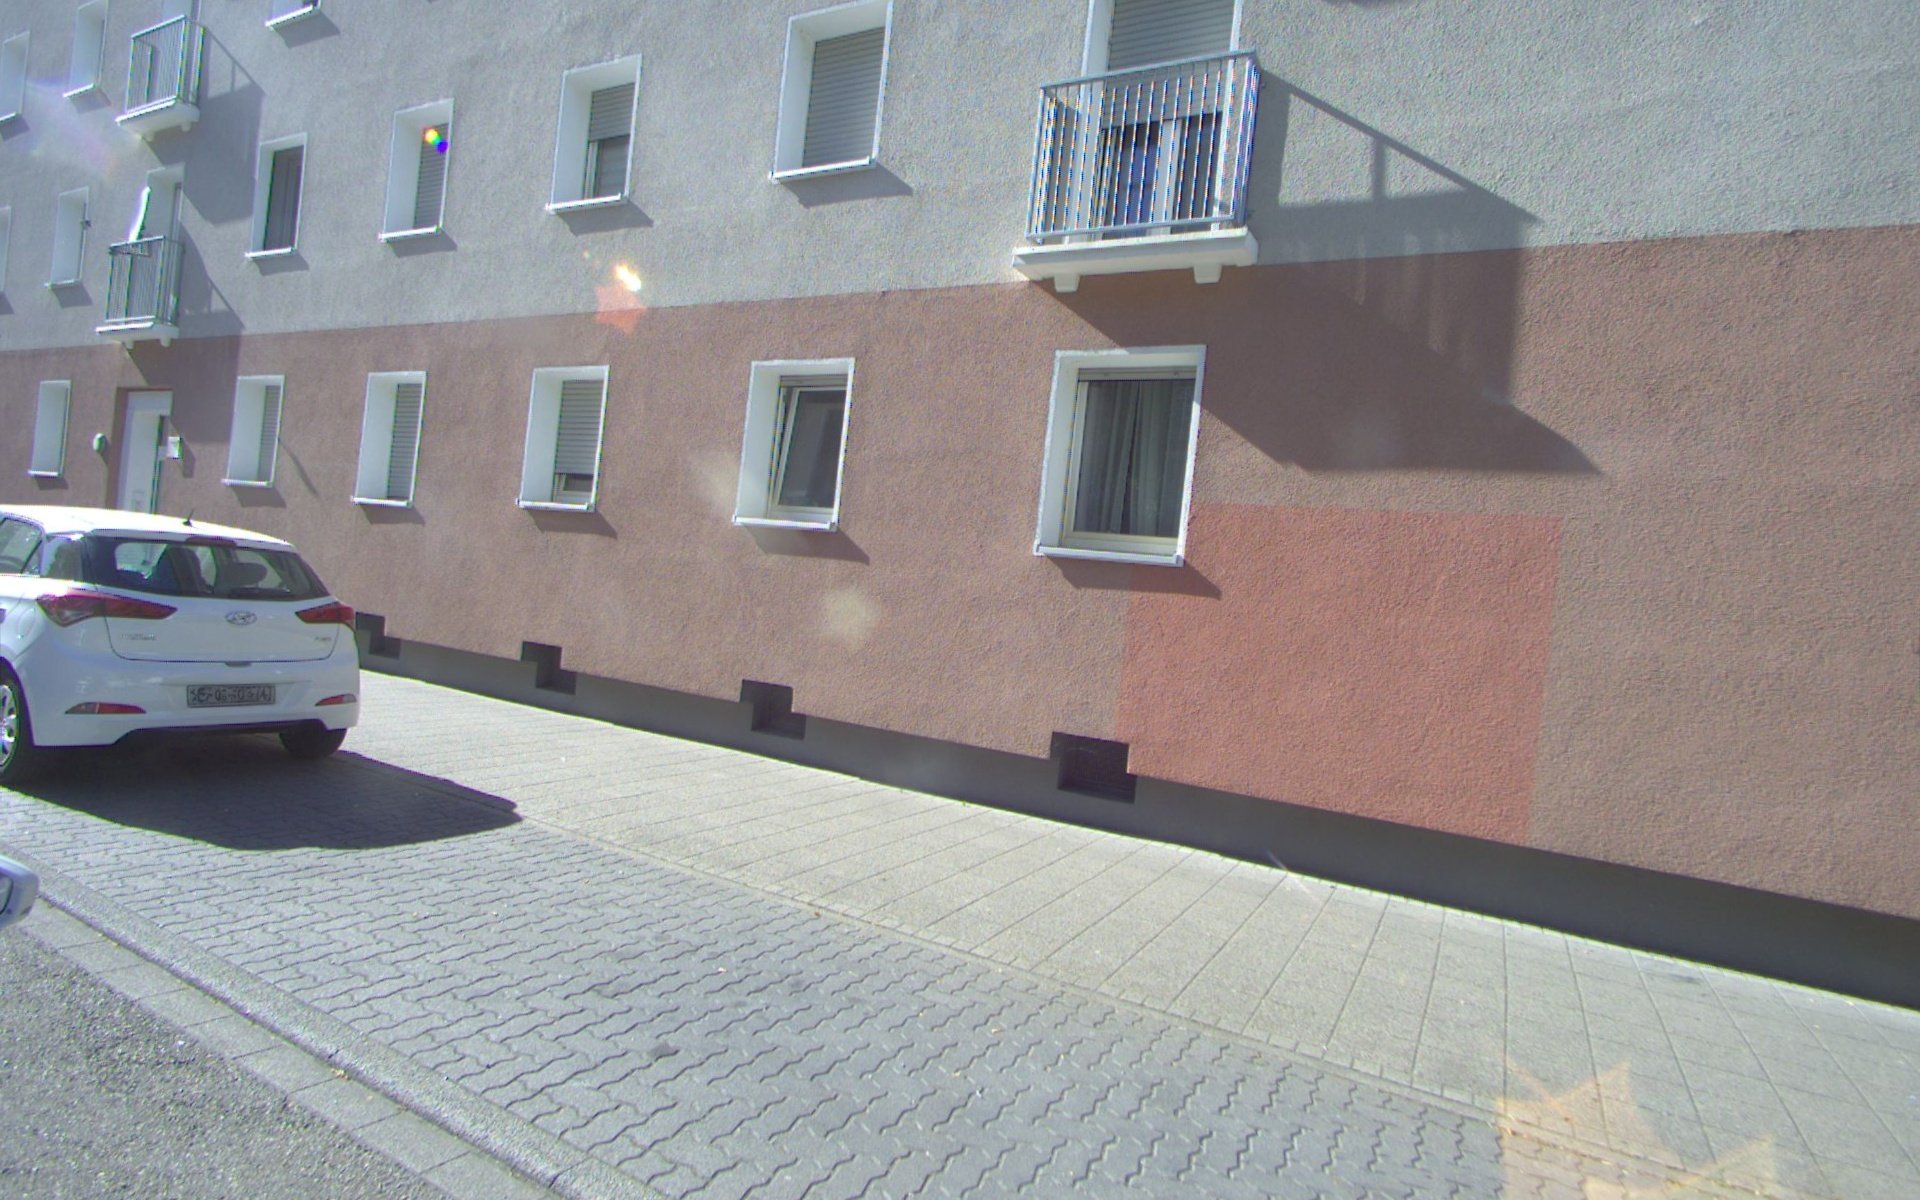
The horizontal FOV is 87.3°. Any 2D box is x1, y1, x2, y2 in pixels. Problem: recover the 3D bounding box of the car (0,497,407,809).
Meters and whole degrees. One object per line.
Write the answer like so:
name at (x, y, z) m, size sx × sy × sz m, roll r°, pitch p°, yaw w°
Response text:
car at (-5.652, 0.146, 6.585) m, size 3.729 × 1.505 × 1.733 m, roll 6°, pitch 1°, yaw 28°
